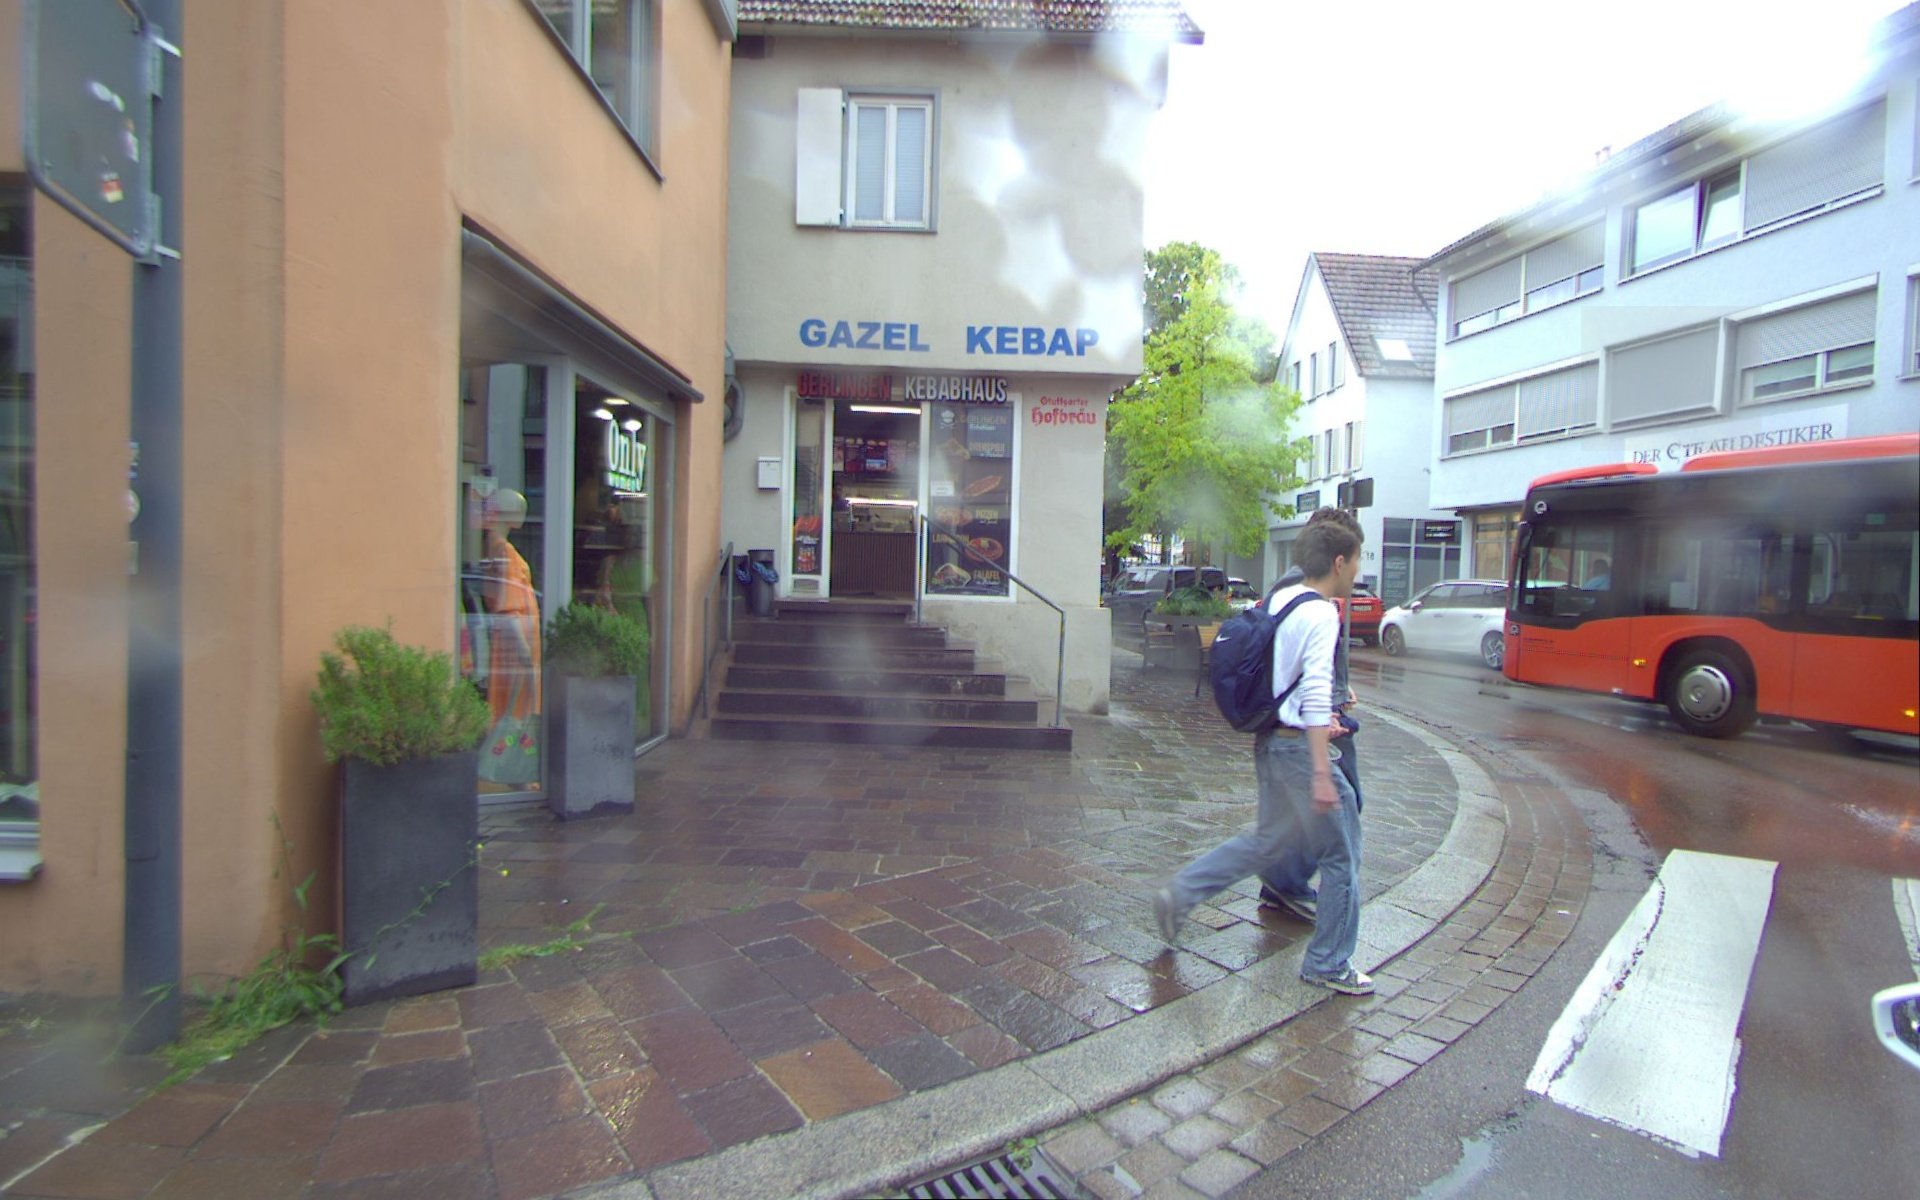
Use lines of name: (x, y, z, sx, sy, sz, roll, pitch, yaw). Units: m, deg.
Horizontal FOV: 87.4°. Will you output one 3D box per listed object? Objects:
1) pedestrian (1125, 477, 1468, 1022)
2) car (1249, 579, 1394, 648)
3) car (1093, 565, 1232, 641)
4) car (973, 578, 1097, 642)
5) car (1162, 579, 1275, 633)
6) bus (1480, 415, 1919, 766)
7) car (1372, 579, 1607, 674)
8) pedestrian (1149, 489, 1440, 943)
pedestrian: (1.203, 0.504, 3.793, 1.039, 1.831, 0.666, 2, 1, 5)
car: (8.944, 0.279, 25.190, 1.653, 1.549, 3.789, 0, 2, -13)
car: (5.248, -0.005, 26.739, 1.918, 1.805, 4.715, 0, 2, -11)
car: (1.931, 0.227, 27.109, 1.702, 1.433, 3.959, 3, 1, -22)
car: (7.885, 0.155, 30.962, 1.769, 1.516, 3.851, 2, 1, -13)
bus: (10.079, -0.038, 8.900, 2.779, 3.130, 10.556, 1, 1, -20)
car: (10.276, 0.432, 19.897, 1.665, 1.634, 4.212, 1, 2, -15)
pedestrian: (1.435, 0.469, 4.484, 1.037, 1.824, 0.695, 2, 1, 5)
